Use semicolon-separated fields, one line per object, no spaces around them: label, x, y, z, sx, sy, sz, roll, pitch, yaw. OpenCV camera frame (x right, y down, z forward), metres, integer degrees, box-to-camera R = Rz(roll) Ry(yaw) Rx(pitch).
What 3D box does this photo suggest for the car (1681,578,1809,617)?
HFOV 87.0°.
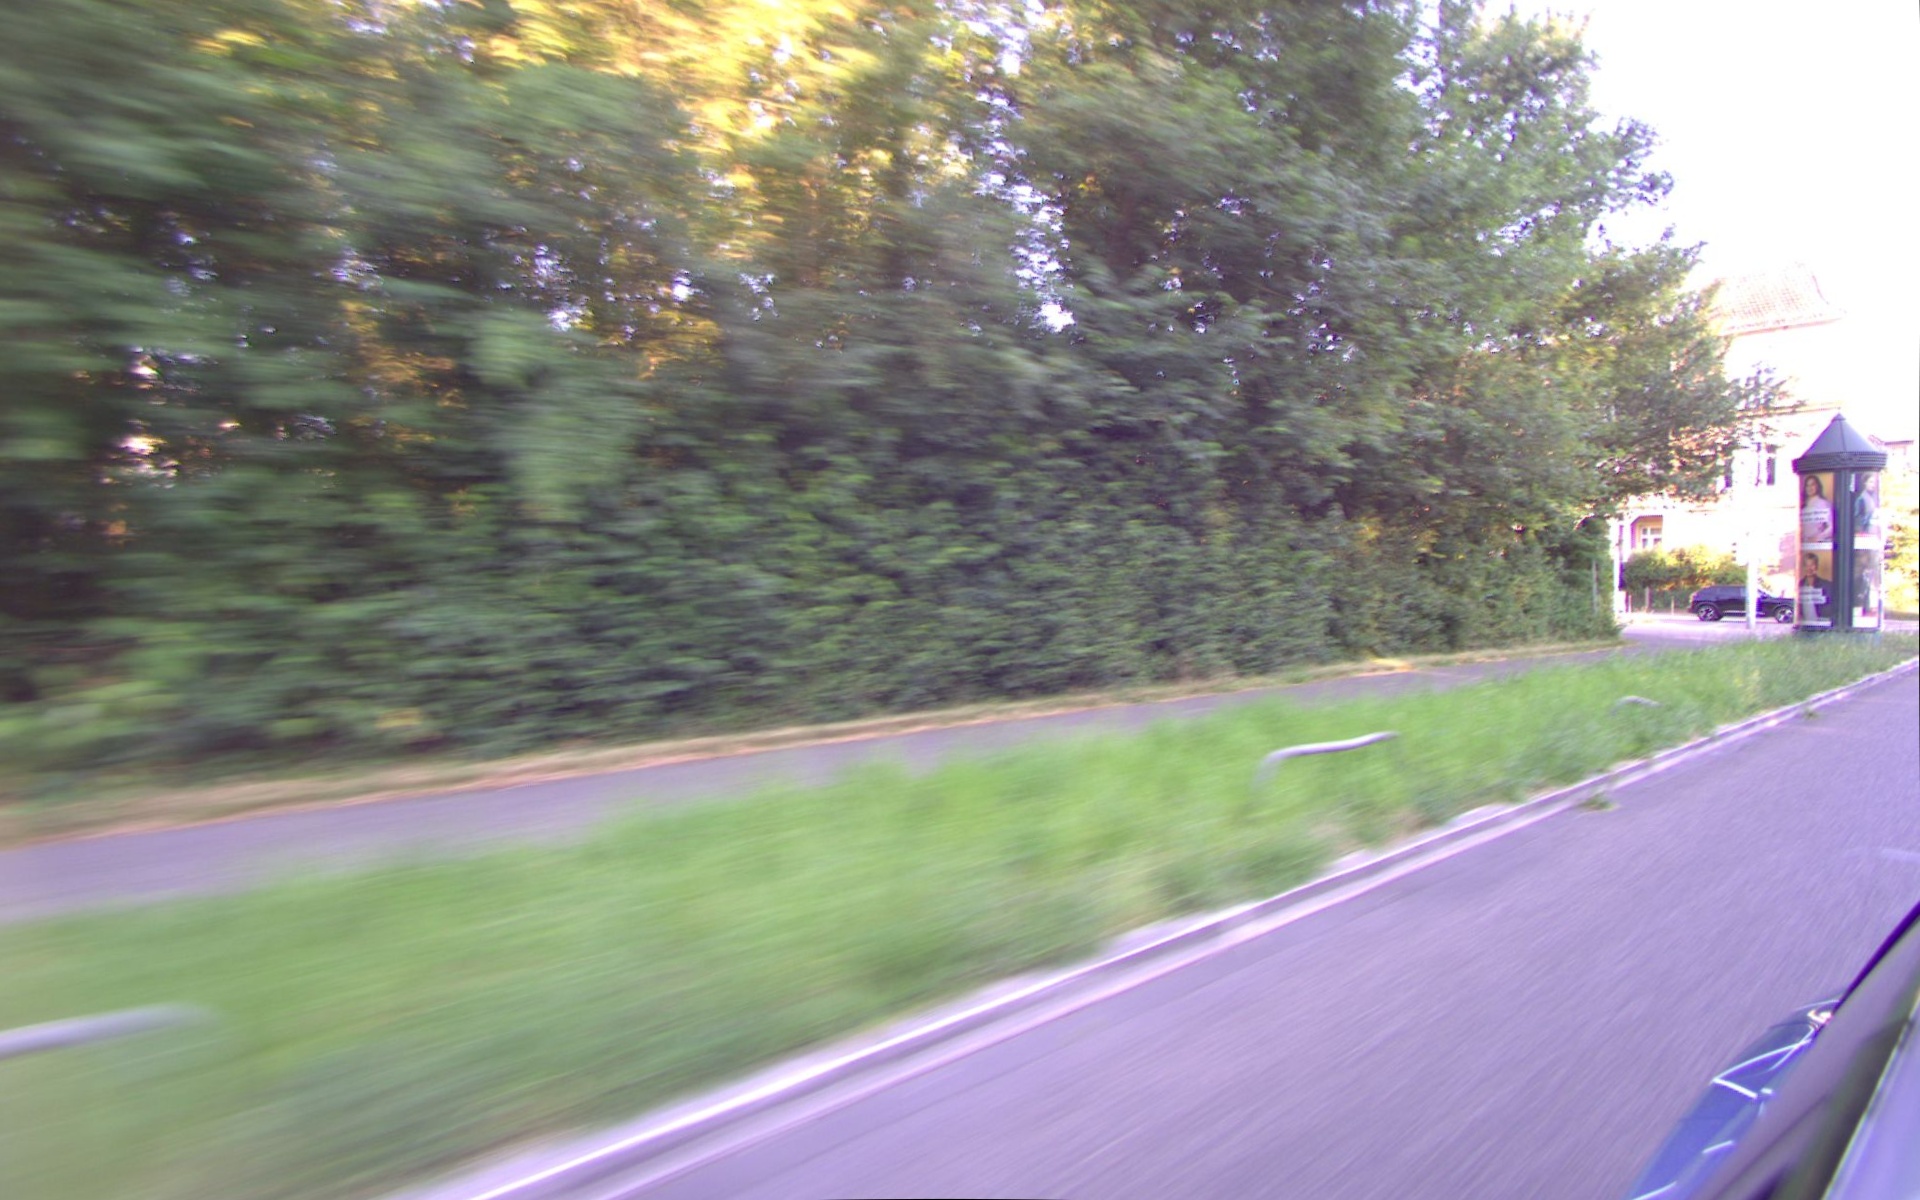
car;32.767;-0.152;42.317;1.655;1.555;3.993;-1;1;-42
